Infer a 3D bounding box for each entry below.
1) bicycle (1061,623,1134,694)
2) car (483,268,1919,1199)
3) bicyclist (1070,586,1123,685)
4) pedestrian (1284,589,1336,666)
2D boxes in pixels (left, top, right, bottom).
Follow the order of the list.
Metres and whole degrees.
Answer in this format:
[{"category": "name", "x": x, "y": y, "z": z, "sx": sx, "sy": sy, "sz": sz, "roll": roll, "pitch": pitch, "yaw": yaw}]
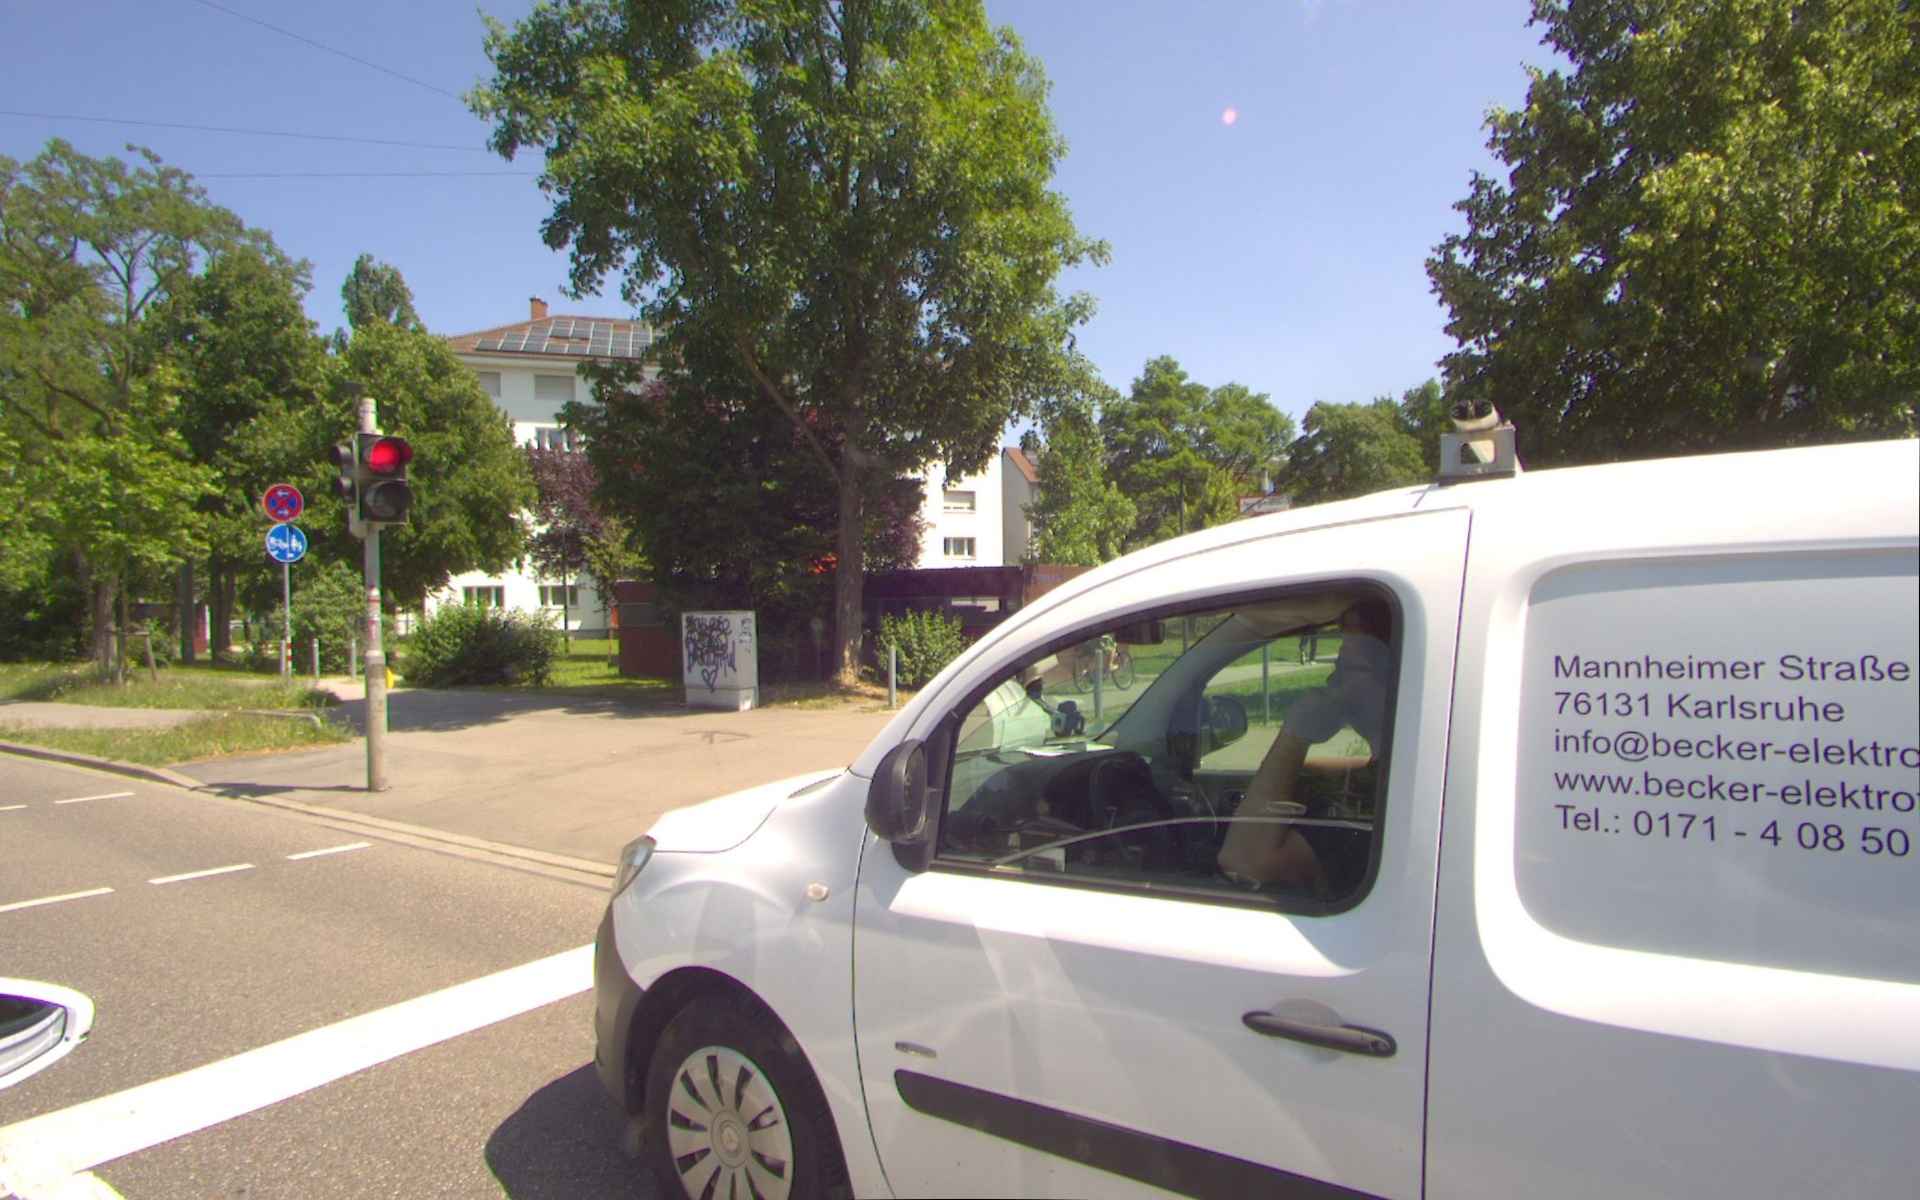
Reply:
[{"category": "bicycle", "x": 2.453, "y": 0.994, "z": 17.646, "sx": 0.533, "sy": 1.176, "sz": 1.954, "roll": 0, "pitch": -1, "yaw": 32}, {"category": "car", "x": 1.120, "y": 0.564, "z": 2.304, "sx": 4.384, "sy": 1.850, "sz": 1.990, "roll": -1, "pitch": 0, "yaw": 32}, {"category": "bicyclist", "x": 2.406, "y": 0.609, "z": 17.588, "sx": 0.572, "sy": 1.689, "sz": 0.955, "roll": 0, "pitch": 0, "yaw": 32}, {"category": "pedestrian", "x": 8.500, "y": 0.650, "z": 24.319, "sx": 0.829, "sy": 1.801, "sz": 1.180, "roll": -2, "pitch": 1, "yaw": 36}]
